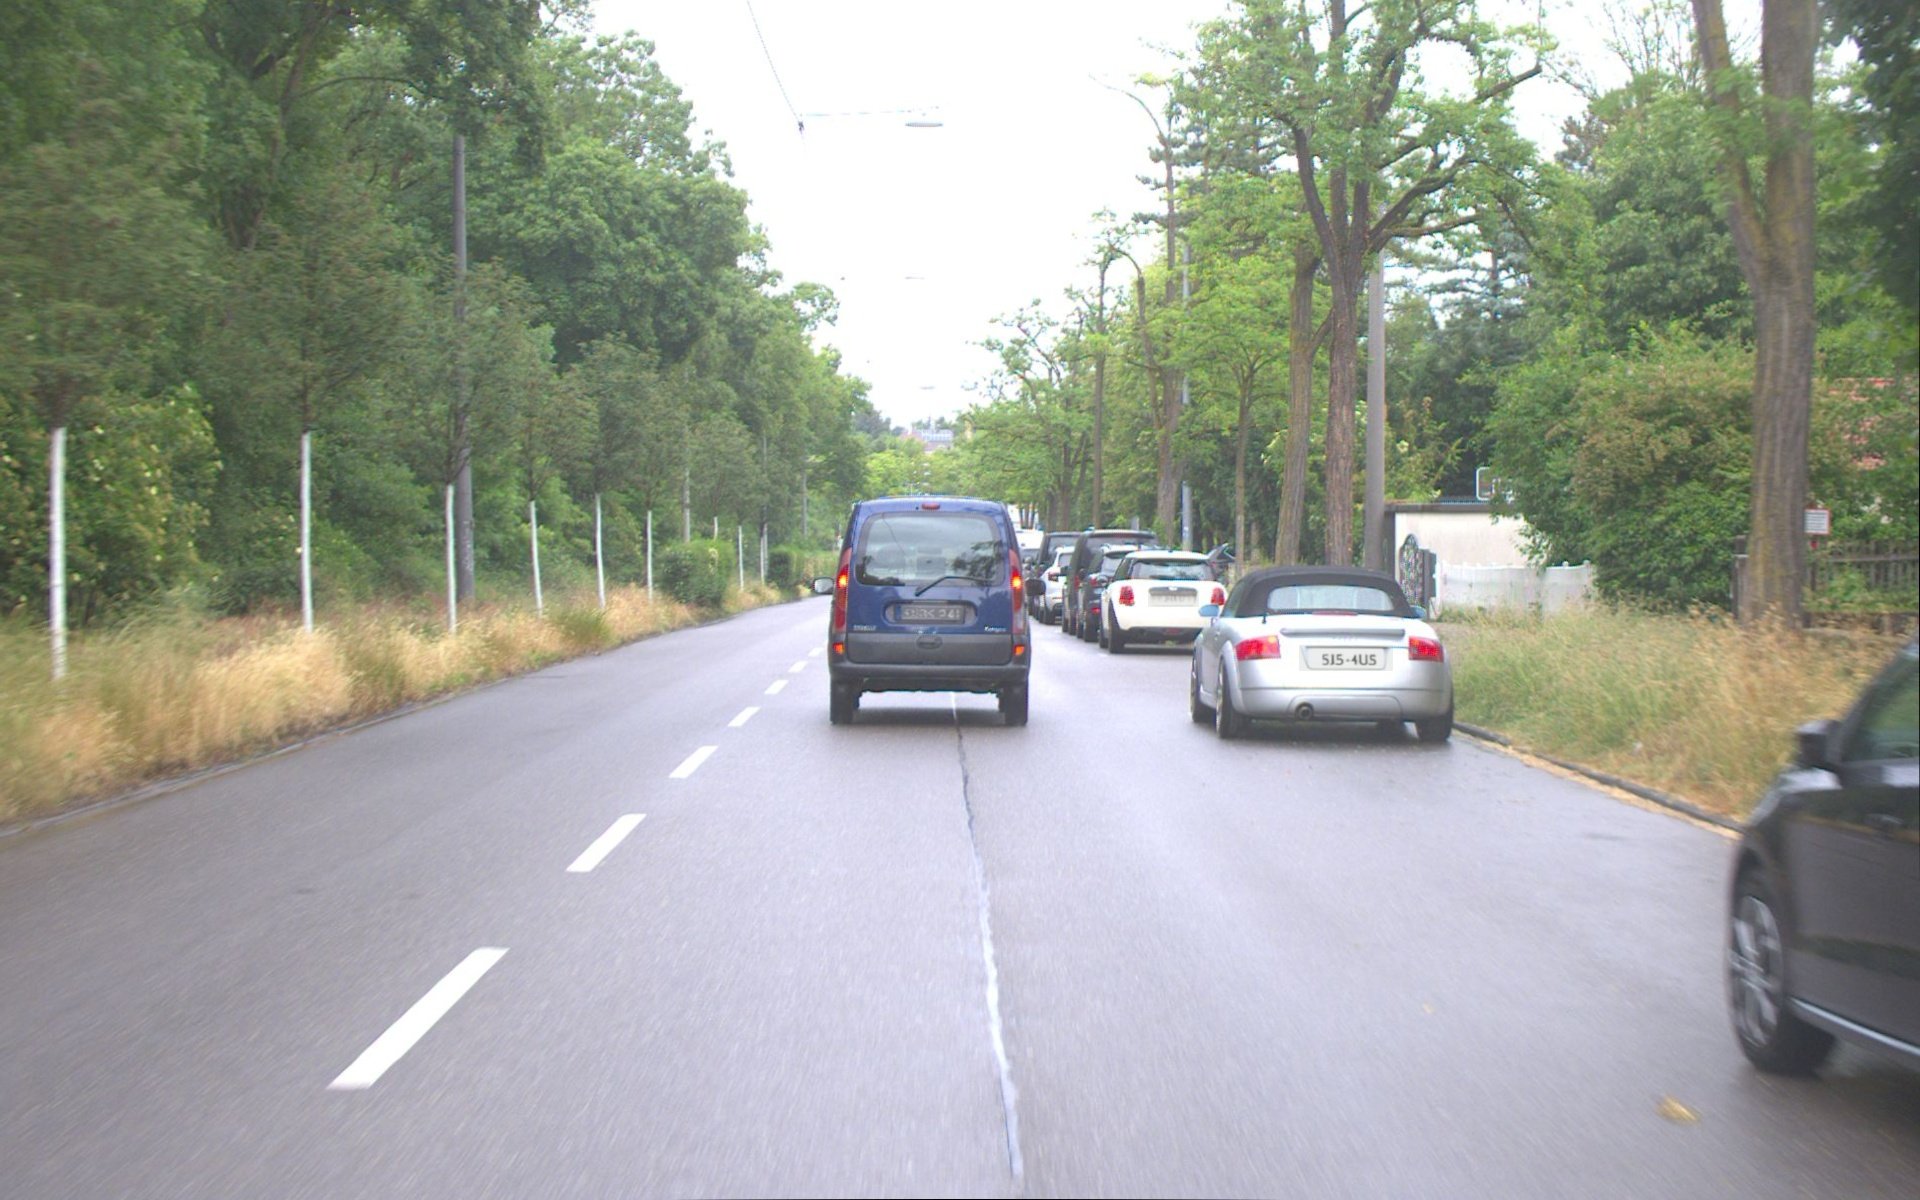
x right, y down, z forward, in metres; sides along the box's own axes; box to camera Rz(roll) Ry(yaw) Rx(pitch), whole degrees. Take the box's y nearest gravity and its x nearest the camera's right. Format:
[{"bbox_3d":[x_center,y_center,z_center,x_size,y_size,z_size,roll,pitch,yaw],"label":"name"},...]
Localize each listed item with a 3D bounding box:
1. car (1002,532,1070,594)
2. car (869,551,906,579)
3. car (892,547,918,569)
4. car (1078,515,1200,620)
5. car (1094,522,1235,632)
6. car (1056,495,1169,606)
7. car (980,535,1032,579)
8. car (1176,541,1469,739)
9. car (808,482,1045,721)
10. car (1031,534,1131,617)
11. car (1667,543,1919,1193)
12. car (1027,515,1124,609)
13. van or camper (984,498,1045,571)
[{"bbox_3d":[2.357,-1.175,107.591,1.814,1.807,4.283,1,1,-2],"label":"car"},{"bbox_3d":[-3.914,-1.906,186.529,1.860,1.475,4.156,-1,1,0],"label":"car"},{"bbox_3d":[-3.830,-2.921,239.477,1.783,1.474,3.968,-1,0,-1],"label":"car"},{"bbox_3d":[2.796,-0.541,54.400,1.678,1.550,4.076,1,1,0],"label":"car"},{"bbox_3d":[2.887,-0.356,49.095,1.738,1.459,3.725,1,1,0],"label":"car"},{"bbox_3d":[2.645,-0.894,60.451,1.730,1.841,4.230,1,1,0],"label":"car"},{"bbox_3d":[1.623,-1.509,120.317,1.626,1.459,3.807,1,1,3],"label":"car"},{"bbox_3d":[2.803,0.262,27.402,1.782,1.390,4.001,1,1,-2],"label":"car"},{"bbox_3d":[-0.336,-0.034,28.571,1.766,1.824,3.542,1,1,-3],"label":"car"},{"bbox_3d":[2.464,-0.531,70.821,1.804,1.607,4.286,1,1,-1],"label":"car"},{"bbox_3d":[3.021,0.624,8.534,1.641,1.459,4.000,1,1,0],"label":"car"},{"bbox_3d":[2.580,-0.892,77.628,1.993,2.007,4.888,1,1,0],"label":"car"},{"bbox_3d":[2.020,-2.464,128.160,2.078,2.641,5.346,1,1,0],"label":"van or camper"}]
